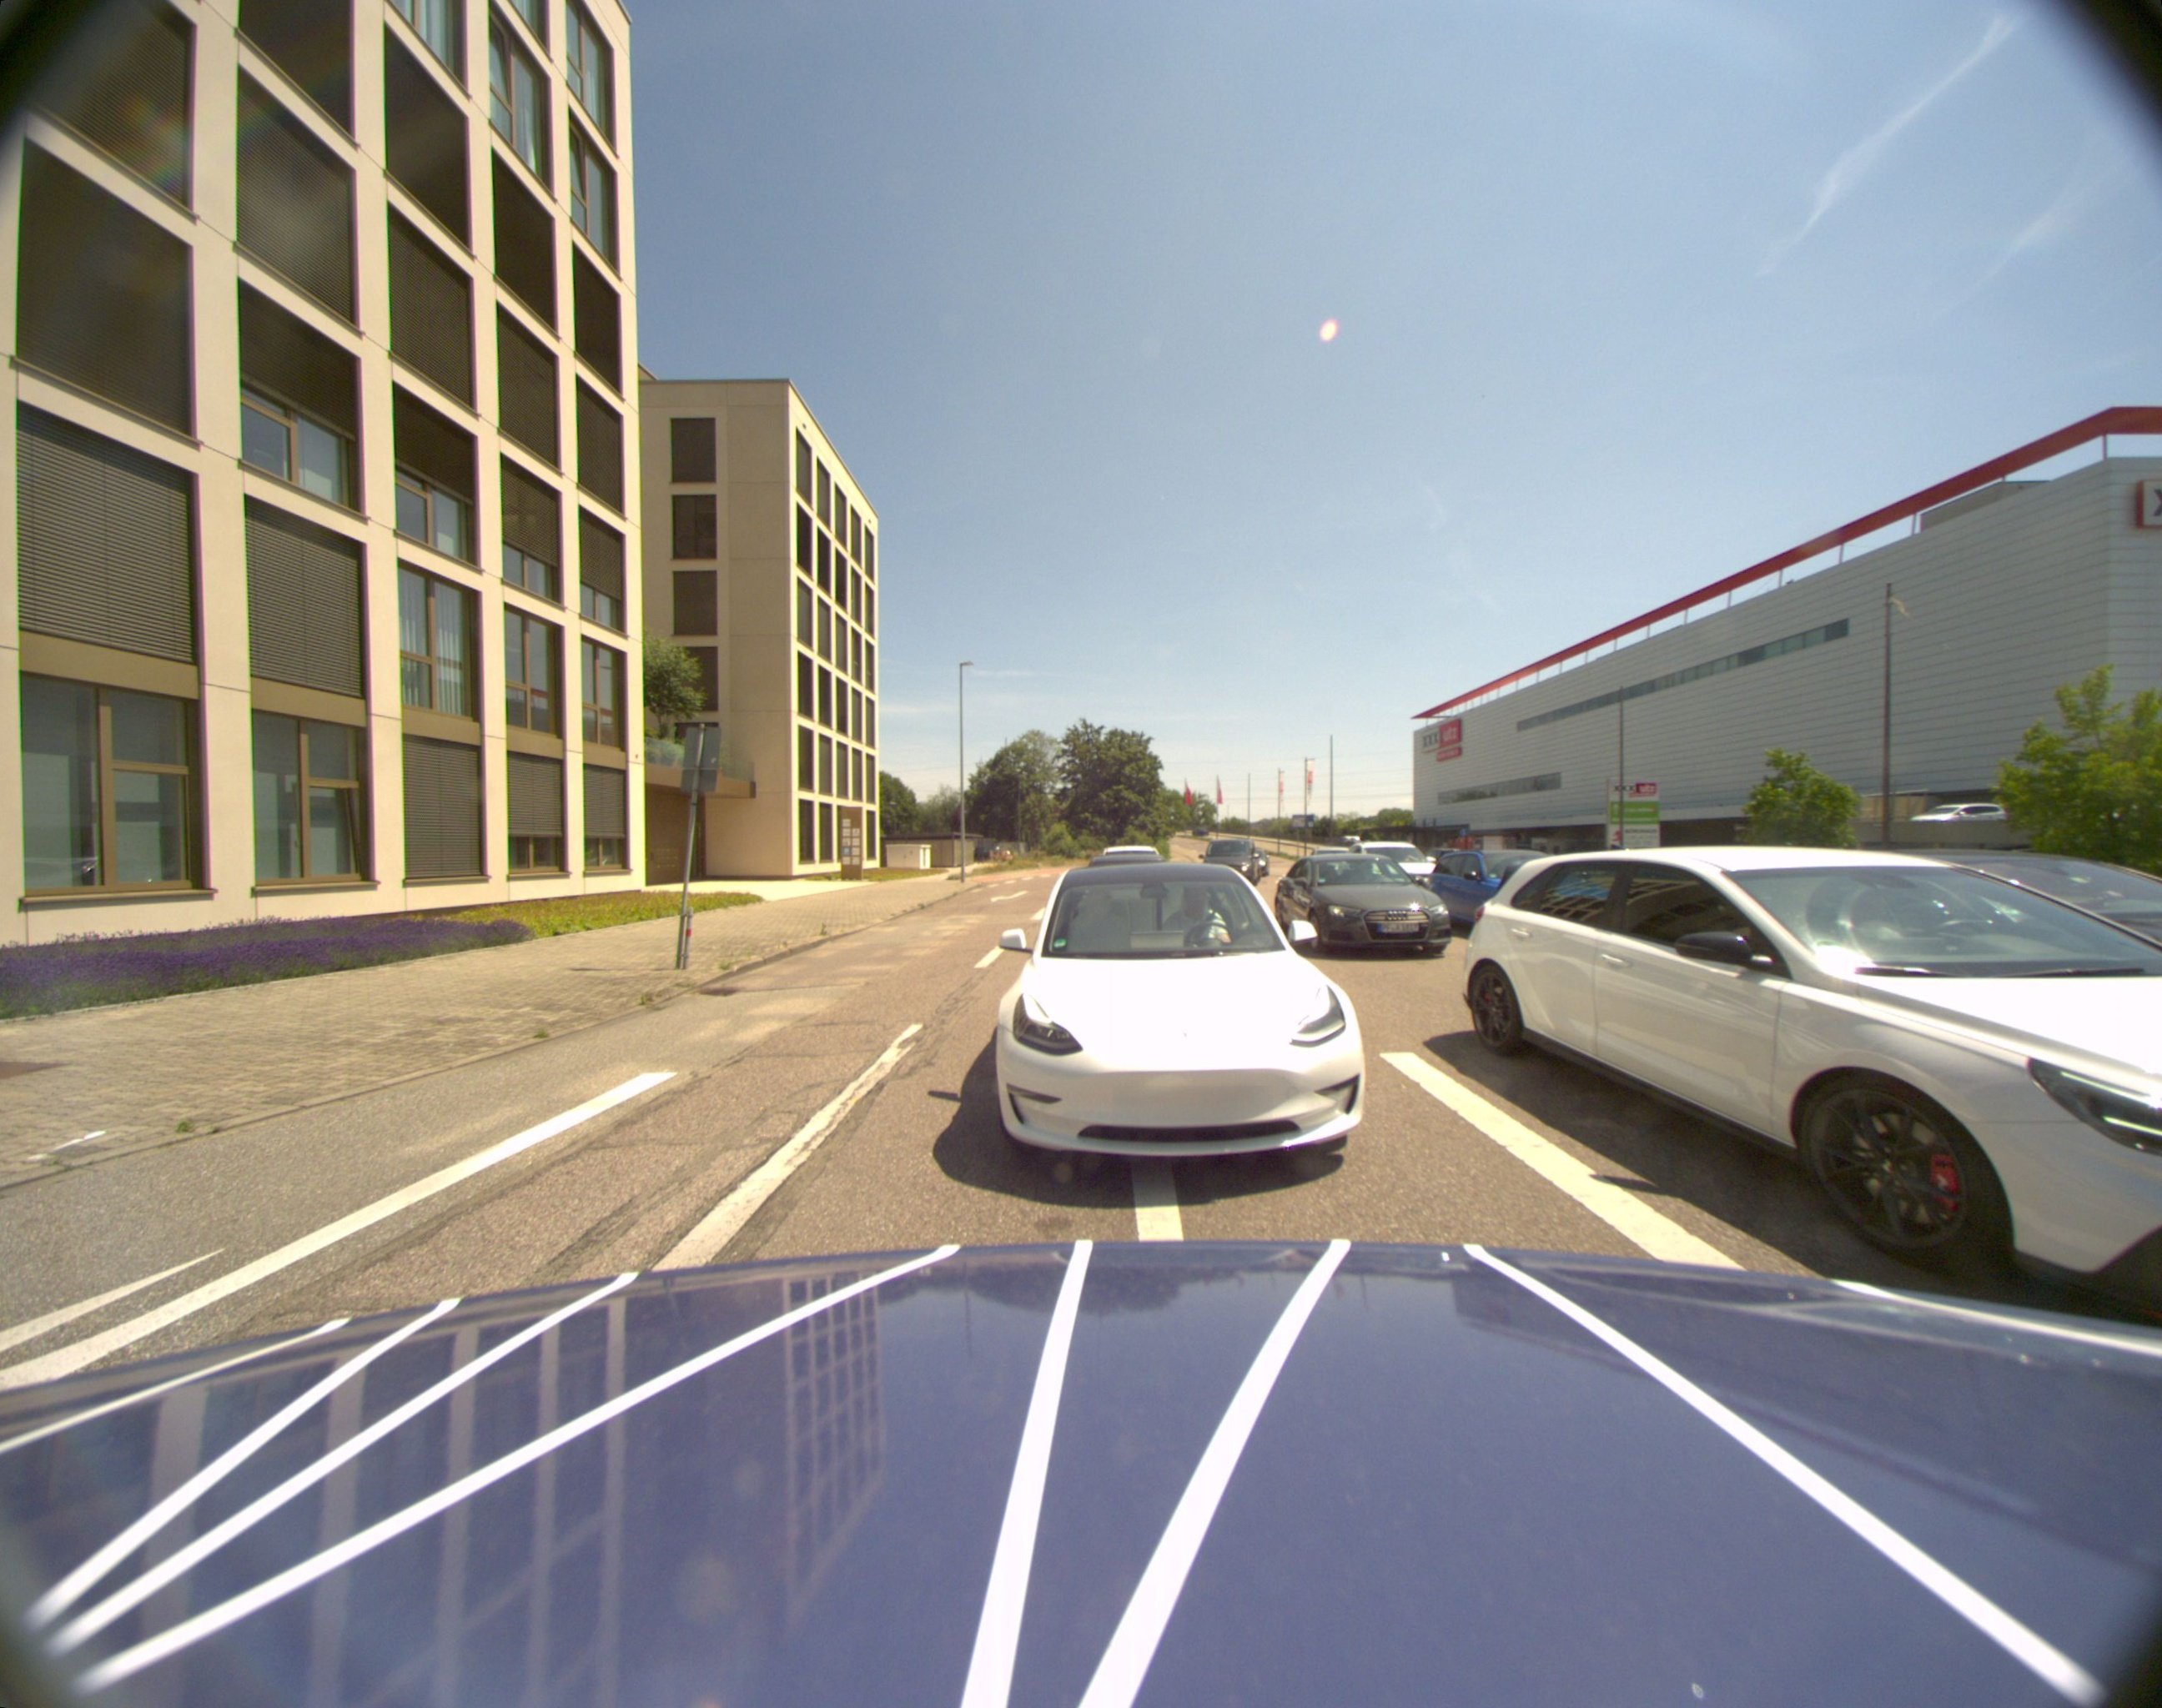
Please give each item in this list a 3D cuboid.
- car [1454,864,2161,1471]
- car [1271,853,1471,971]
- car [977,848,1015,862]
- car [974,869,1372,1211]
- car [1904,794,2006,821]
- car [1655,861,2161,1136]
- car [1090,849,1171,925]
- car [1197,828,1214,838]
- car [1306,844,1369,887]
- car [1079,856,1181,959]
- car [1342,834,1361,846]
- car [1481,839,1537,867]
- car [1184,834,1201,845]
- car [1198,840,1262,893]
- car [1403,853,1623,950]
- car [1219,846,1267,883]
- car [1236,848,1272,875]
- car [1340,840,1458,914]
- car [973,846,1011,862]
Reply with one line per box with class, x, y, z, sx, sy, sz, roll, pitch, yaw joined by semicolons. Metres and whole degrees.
car;3.680;0.831;3.660;1.792;1.428;4.070;-2;1;1
car;4.162;0.728;11.643;1.769;1.374;4.090;1;1;5
car;-9.137;0.111;81.206;3.834;1.386;1.736;0;1;-13
car;0.465;0.923;5.726;1.823;1.428;4.284;-2;1;1
car;51.803;-2.757;45.075;3.996;1.499;1.717;0;1;2
car;6.637;0.789;5.488;1.675;1.396;4.467;-2;0;2
car;1.238;0.720;18.587;1.777;1.600;3.821;0;1;5
car;24.922;-4.178;152.313;1.813;2.002;3.994;-1;1;-15
car;9.154;0.374;27.369;1.767;1.414;3.903;-2;0;14
car;0.899;0.821;13.504;1.556;1.528;3.822;0;1;5
car;52.072;-2.618;146.369;2.191;2.270;4.814;0;1;4
car;27.073;-0.054;48.216;1.865;1.713;4.046;0;0;11
car;19.533;-2.485;132.718;1.678;1.805;3.995;-1;1;-11
car;5.710;0.396;28.635;1.893;1.811;4.842;0;1;17
car;7.357;0.707;13.522;1.768;1.395;4.433;-2;0;7
car;7.562;0.434;35.197;1.811;1.630;4.005;0;1;18
car;9.900;0.408;43.372;1.606;1.431;3.738;0;1;19
car;8.002;0.509;19.550;1.768;1.632;4.494;-2;1;9
car;-9.292;-0.001;79.163;3.834;1.543;1.736;0;1;-13
